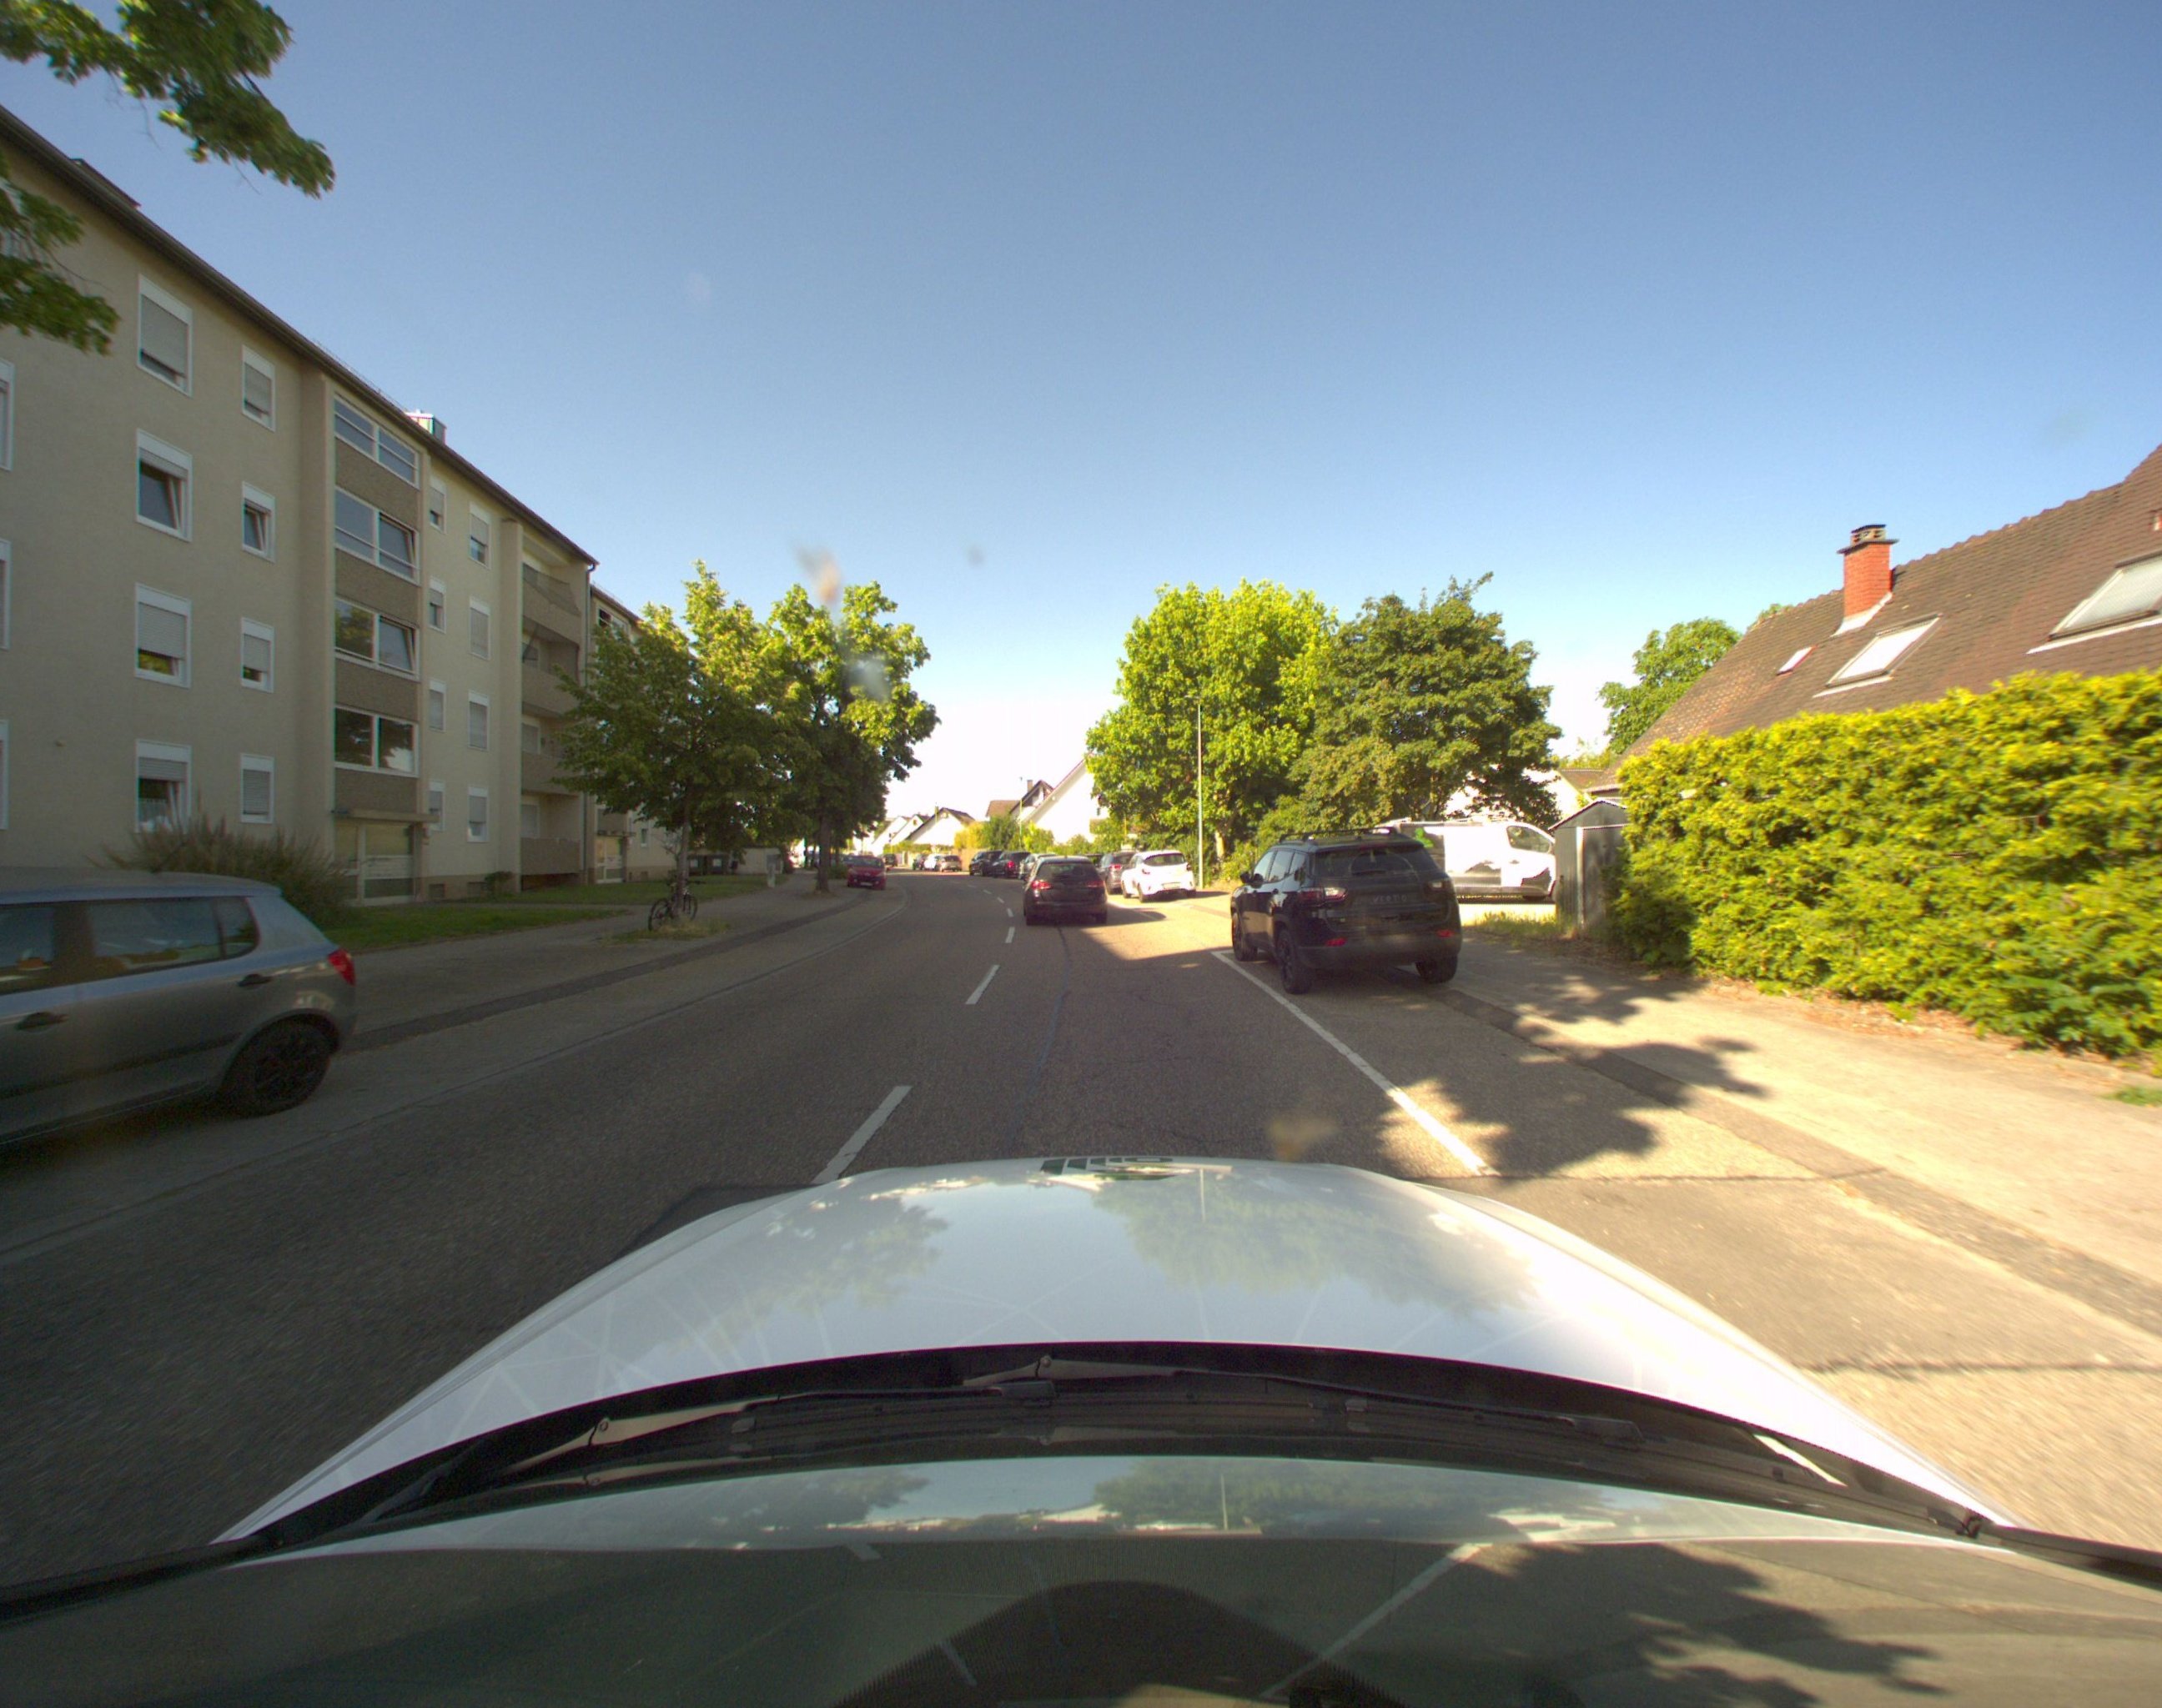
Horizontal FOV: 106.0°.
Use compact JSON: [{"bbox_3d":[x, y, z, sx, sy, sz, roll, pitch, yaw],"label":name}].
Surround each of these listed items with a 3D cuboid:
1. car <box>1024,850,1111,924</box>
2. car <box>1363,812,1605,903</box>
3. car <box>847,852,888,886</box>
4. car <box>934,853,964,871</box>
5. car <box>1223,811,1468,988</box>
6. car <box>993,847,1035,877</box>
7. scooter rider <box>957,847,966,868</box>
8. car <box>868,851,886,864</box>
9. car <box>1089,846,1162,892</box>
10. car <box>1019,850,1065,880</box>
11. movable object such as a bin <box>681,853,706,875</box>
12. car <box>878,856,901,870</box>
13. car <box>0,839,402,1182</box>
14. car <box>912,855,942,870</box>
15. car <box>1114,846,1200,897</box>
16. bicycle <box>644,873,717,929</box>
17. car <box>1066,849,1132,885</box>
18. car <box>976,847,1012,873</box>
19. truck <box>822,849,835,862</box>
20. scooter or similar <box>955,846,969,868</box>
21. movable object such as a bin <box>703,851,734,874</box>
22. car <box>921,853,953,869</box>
[{"bbox_3d":[-0.424,0.704,18.902,1.758,1.491,4.284,1,-1,-4],"label":"car"},{"bbox_3d":[9.328,0.091,19.222,4.660,1.984,2.145,-1,-1,3],"label":"car"},{"bbox_3d":[-9.998,0.693,38.289,1.690,1.491,4.271,1,-1,-13],"label":"car"},{"bbox_3d":[-11.077,0.677,68.124,1.921,1.407,4.269,0,-1,-17],"label":"car"},{"bbox_3d":[2.960,0.468,10.131,1.771,1.724,4.296,-1,-1,2],"label":"car"},{"bbox_3d":[-4.170,0.512,50.108,2.008,1.724,4.275,0,-1,-13],"label":"car"},{"bbox_3d":[-11.407,0.334,77.757,0.688,2.014,0.814,0,-3,-22],"label":"scooter rider"},{"bbox_3d":[-29.421,0.522,117.361,2.014,1.724,4.262,0,-1,-22],"label":"car"},{"bbox_3d":[1.582,0.541,30.570,1.910,1.600,4.282,0,-1,-8],"label":"car"},{"bbox_3d":[-2.213,0.615,45.076,1.822,1.534,4.240,0,-1,-13],"label":"car"},{"bbox_3d":[-23.997,0.611,50.432,1.173,1.321,1.083,0,-2,-12],"label":"movable object such as a bin"},{"bbox_3d":[-23.178,1.095,98.394,2.014,1.724,4.262,0,-1,-22],"label":"car"},{"bbox_3d":[-5.814,0.728,3.877,1.560,1.530,3.924,4,1,5],"label":"car"},{"bbox_3d":[-14.891,0.828,78.500,1.924,1.407,4.261,0,-1,-23],"label":"car"},{"bbox_3d":[2.319,0.544,25.960,1.760,1.480,4.281,0,-1,-9],"label":"car"},{"bbox_3d":[-7.671,0.866,15.678,0.365,0.969,1.886,-1,0,4],"label":"bicycle"},{"bbox_3d":[0.719,0.559,35.825,2.007,1.475,4.276,0,-1,-12],"label":"car"},{"bbox_3d":[-5.988,0.405,55.679,1.906,1.666,4.170,0,-1,-14],"label":"car"},{"bbox_3d":[-54.718,0.253,176.472,2.214,2.600,5.106,0,-2,-22],"label":"truck"},{"bbox_3d":[-11.365,0.276,77.691,0.688,2.014,2.941,0,-2,-20],"label":"scooter or similar"},{"bbox_3d":[-22.591,0.545,50.754,1.519,1.427,1.083,0,-2,-13],"label":"movable object such as a bin"},{"bbox_3d":[-13.145,0.652,74.135,1.924,1.407,4.261,0,-1,-23],"label":"car"}]
